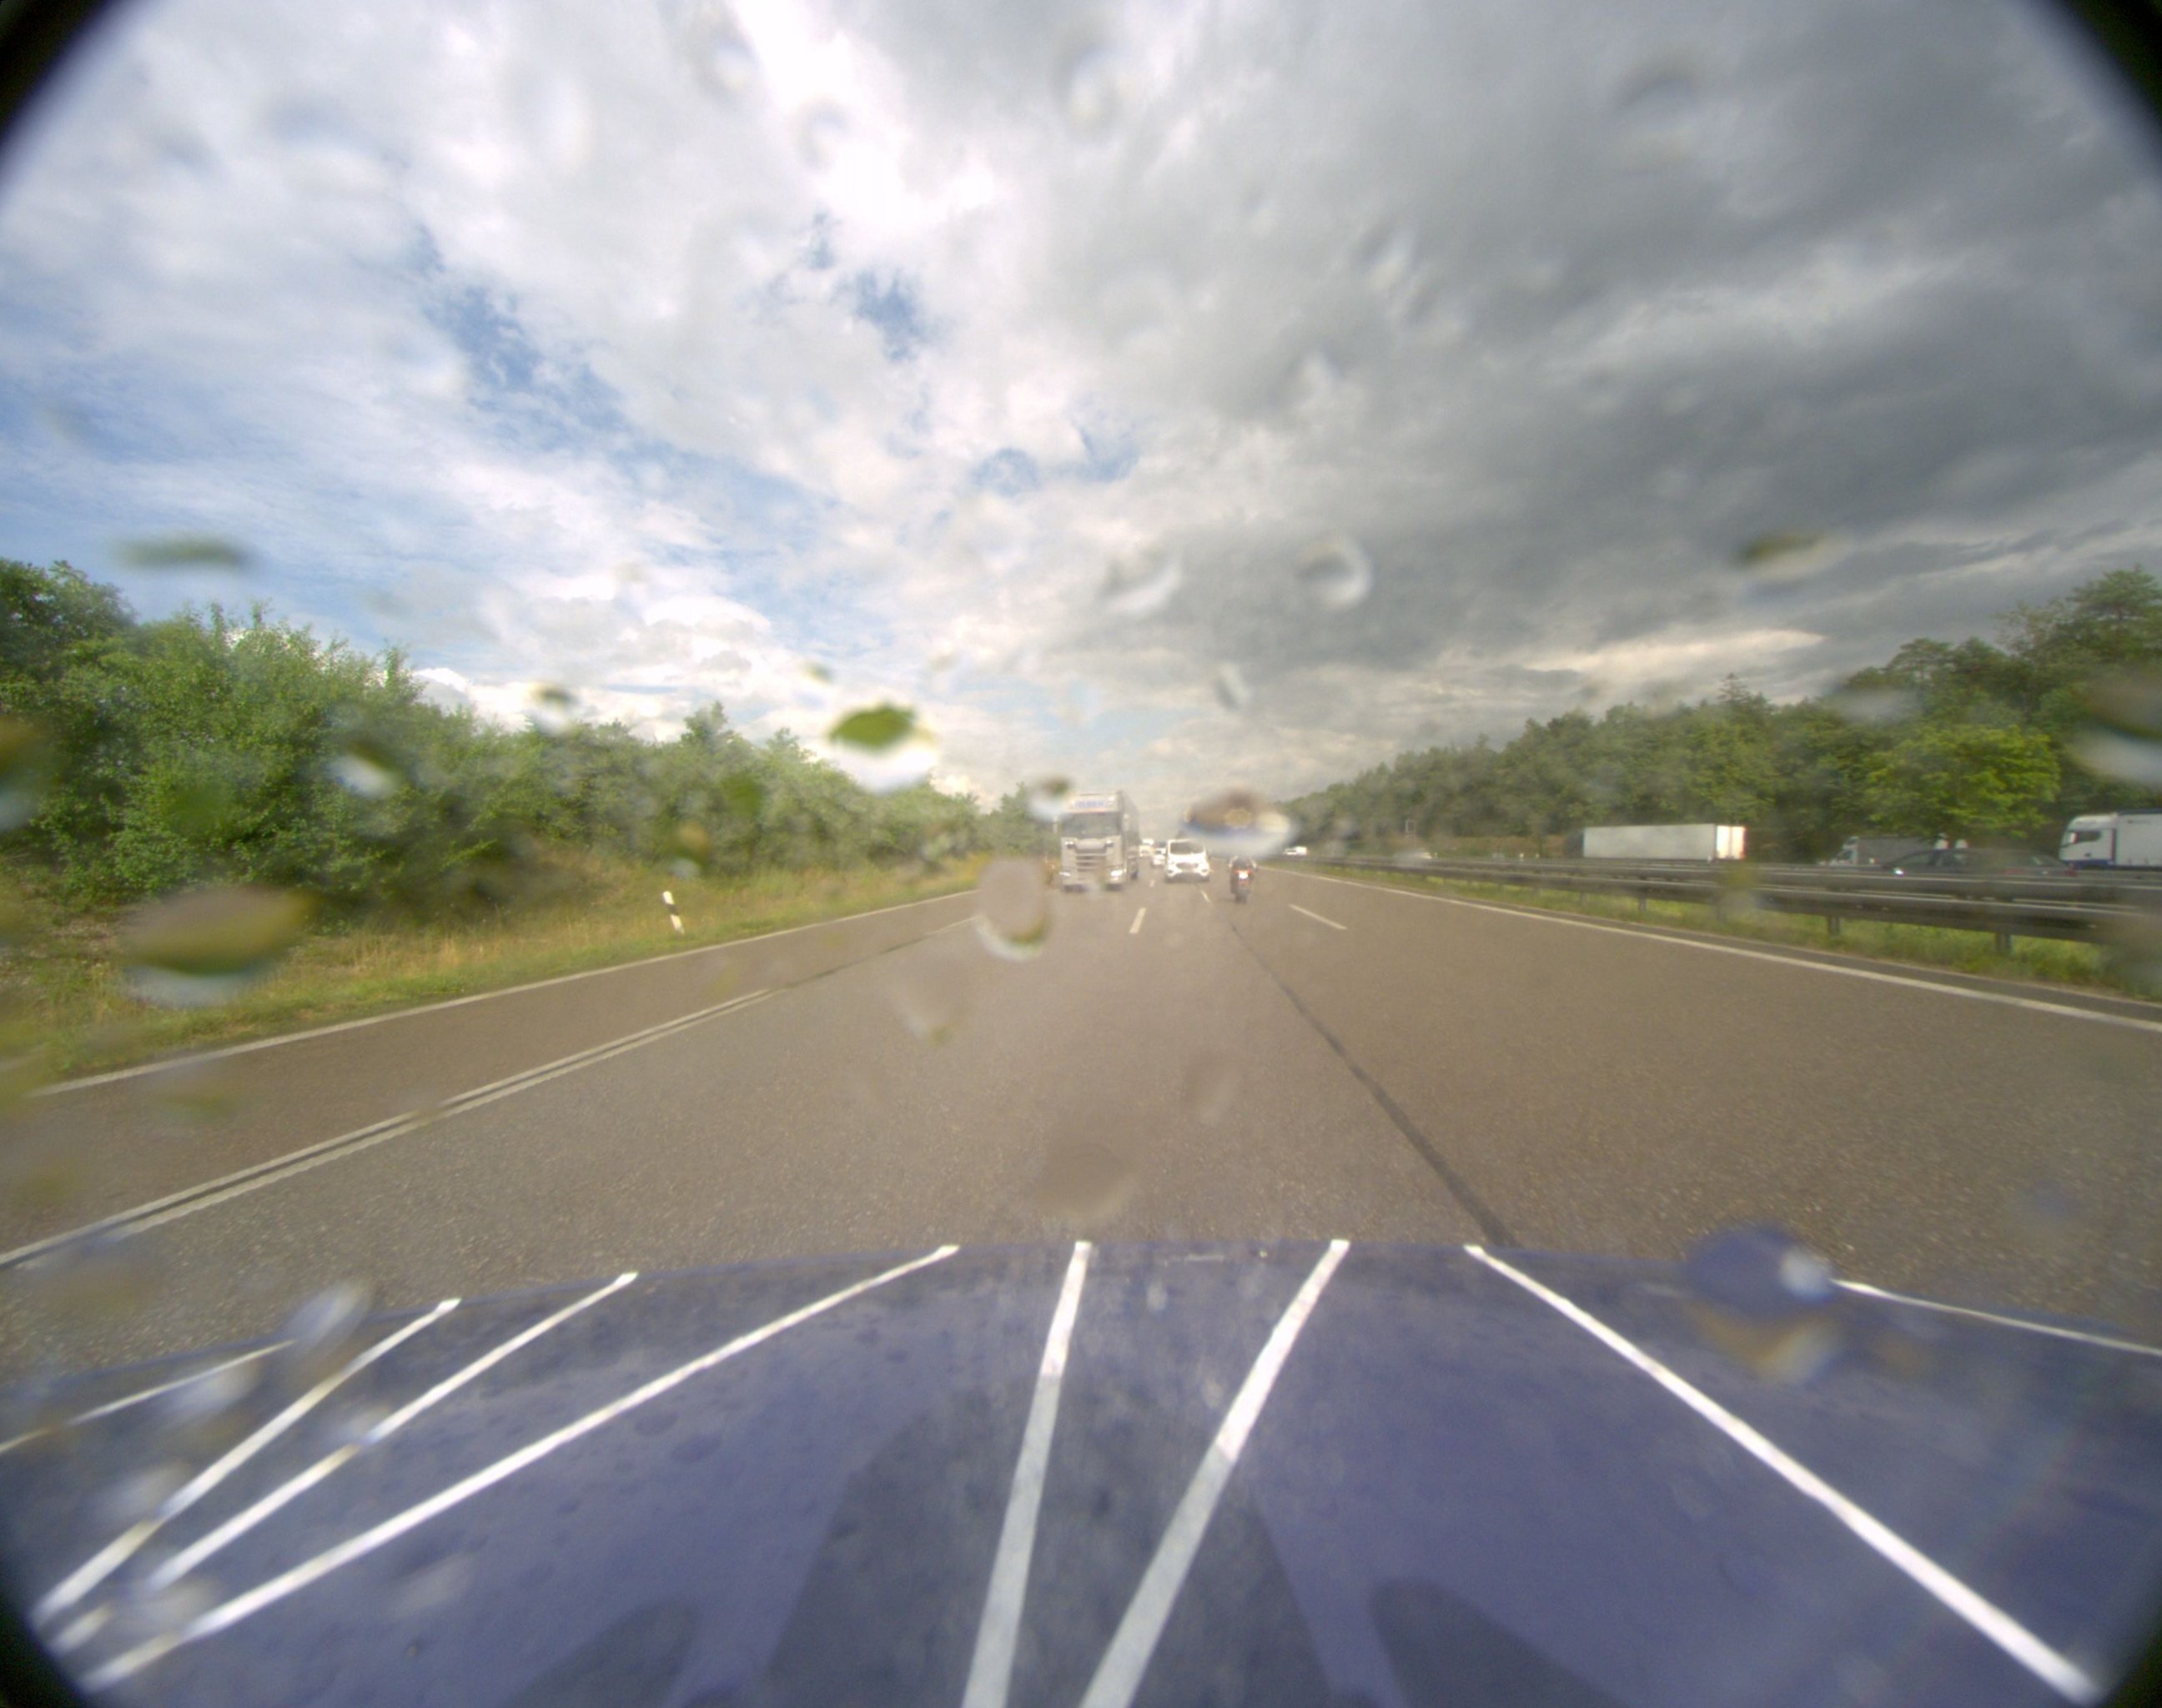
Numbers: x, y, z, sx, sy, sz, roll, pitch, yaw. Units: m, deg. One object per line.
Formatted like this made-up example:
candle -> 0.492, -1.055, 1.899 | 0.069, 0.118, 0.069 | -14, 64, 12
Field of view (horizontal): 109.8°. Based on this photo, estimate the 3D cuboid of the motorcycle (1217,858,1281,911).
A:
motorcycle -> 4.524, 0.783, 20.730 | 1.187, 1.219, 3.195 | -2, 1, 3

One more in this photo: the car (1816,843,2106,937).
car -> 20.866, 0.734, 18.415 | 1.834, 1.880, 4.780 | -2, 1, 6

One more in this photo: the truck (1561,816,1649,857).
truck -> 50.739, -1.703, 73.848 | 3.217, 3.684, 6.910 | -3, 1, -8

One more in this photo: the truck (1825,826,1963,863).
truck -> 54.121, -0.614, 50.834 | 2.124, 2.252, 6.314 | -2, 1, -7

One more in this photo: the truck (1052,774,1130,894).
truck -> 0.573, -0.787, 31.145 | 2.649, 4.250, 6.885 | -2, 1, 3

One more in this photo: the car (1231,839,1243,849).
car -> 31.665, -2.047, 154.198 | 1.834, 2.033, 4.780 | -2, 1, 6

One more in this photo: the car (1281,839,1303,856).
car -> 25.389, -0.776, 91.612 | 1.834, 1.880, 4.780 | -2, 1, 6

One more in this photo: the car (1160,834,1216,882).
car -> 5.000, 0.136, 36.071 | 2.349, 2.033, 5.144 | -2, 1, 6

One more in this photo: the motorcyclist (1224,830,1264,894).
motorcyclist -> 4.446, 0.209, 20.835 | 0.883, 1.696, 1.001 | -2, 2, 4

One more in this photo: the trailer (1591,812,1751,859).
trailer -> 51.629, -1.598, 67.325 | 3.214, 3.718, 12.559 | -1, 1, -7

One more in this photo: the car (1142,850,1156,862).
car -> 12.645, 0.377, 141.589 | 2.349, 2.033, 5.144 | -2, 1, 6

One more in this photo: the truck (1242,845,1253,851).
truck -> 36.593, -1.397, 167.204 | 1.892, 1.187, 4.001 | -2, 1, 6

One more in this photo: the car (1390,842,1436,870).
car -> 25.025, 0.120, 57.442 | 1.834, 1.880, 4.780 | -2, 1, 6

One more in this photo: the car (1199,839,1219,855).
car -> 17.508, -0.974, 104.365 | 2.349, 2.033, 5.144 | -2, 1, 6

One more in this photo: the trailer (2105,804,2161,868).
trailer -> 55.061, -0.883, 35.942 | 2.586, 3.214, 7.737 | -1, 1, -3

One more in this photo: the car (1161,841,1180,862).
car -> 9.626, -0.277, 81.853 | 1.834, 2.033, 4.780 | -2, 1, 6

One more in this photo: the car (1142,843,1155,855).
car -> 13.142, -0.981, 147.588 | 2.349, 2.033, 5.144 | -2, 1, 6

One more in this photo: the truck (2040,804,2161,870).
truck -> 54.756, -0.931, 39.740 | 2.661, 3.249, 5.084 | -2, 1, -4

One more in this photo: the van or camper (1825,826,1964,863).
van or camper -> 54.071, -0.611, 50.747 | 2.124, 2.252, 6.319 | -2, 1, -7

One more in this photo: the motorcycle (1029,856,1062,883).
motorcycle -> -1.685, 0.738, 36.912 | 1.187, 1.142, 3.195 | -2, 1, 3

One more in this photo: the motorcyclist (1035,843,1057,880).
motorcyclist -> -1.670, 0.359, 36.906 | 0.883, 1.696, 1.001 | -2, 2, 4

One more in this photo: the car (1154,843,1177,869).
car -> 7.233, 0.143, 64.950 | 1.834, 2.033, 4.780 | -2, 1, 6

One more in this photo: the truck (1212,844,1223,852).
truck -> 34.668, -1.643, 192.746 | 2.261, 1.884, 5.448 | -2, 1, 6

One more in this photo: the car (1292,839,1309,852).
car -> 34.966, -1.359, 120.998 | 1.834, 2.033, 4.780 | -2, 1, 6
